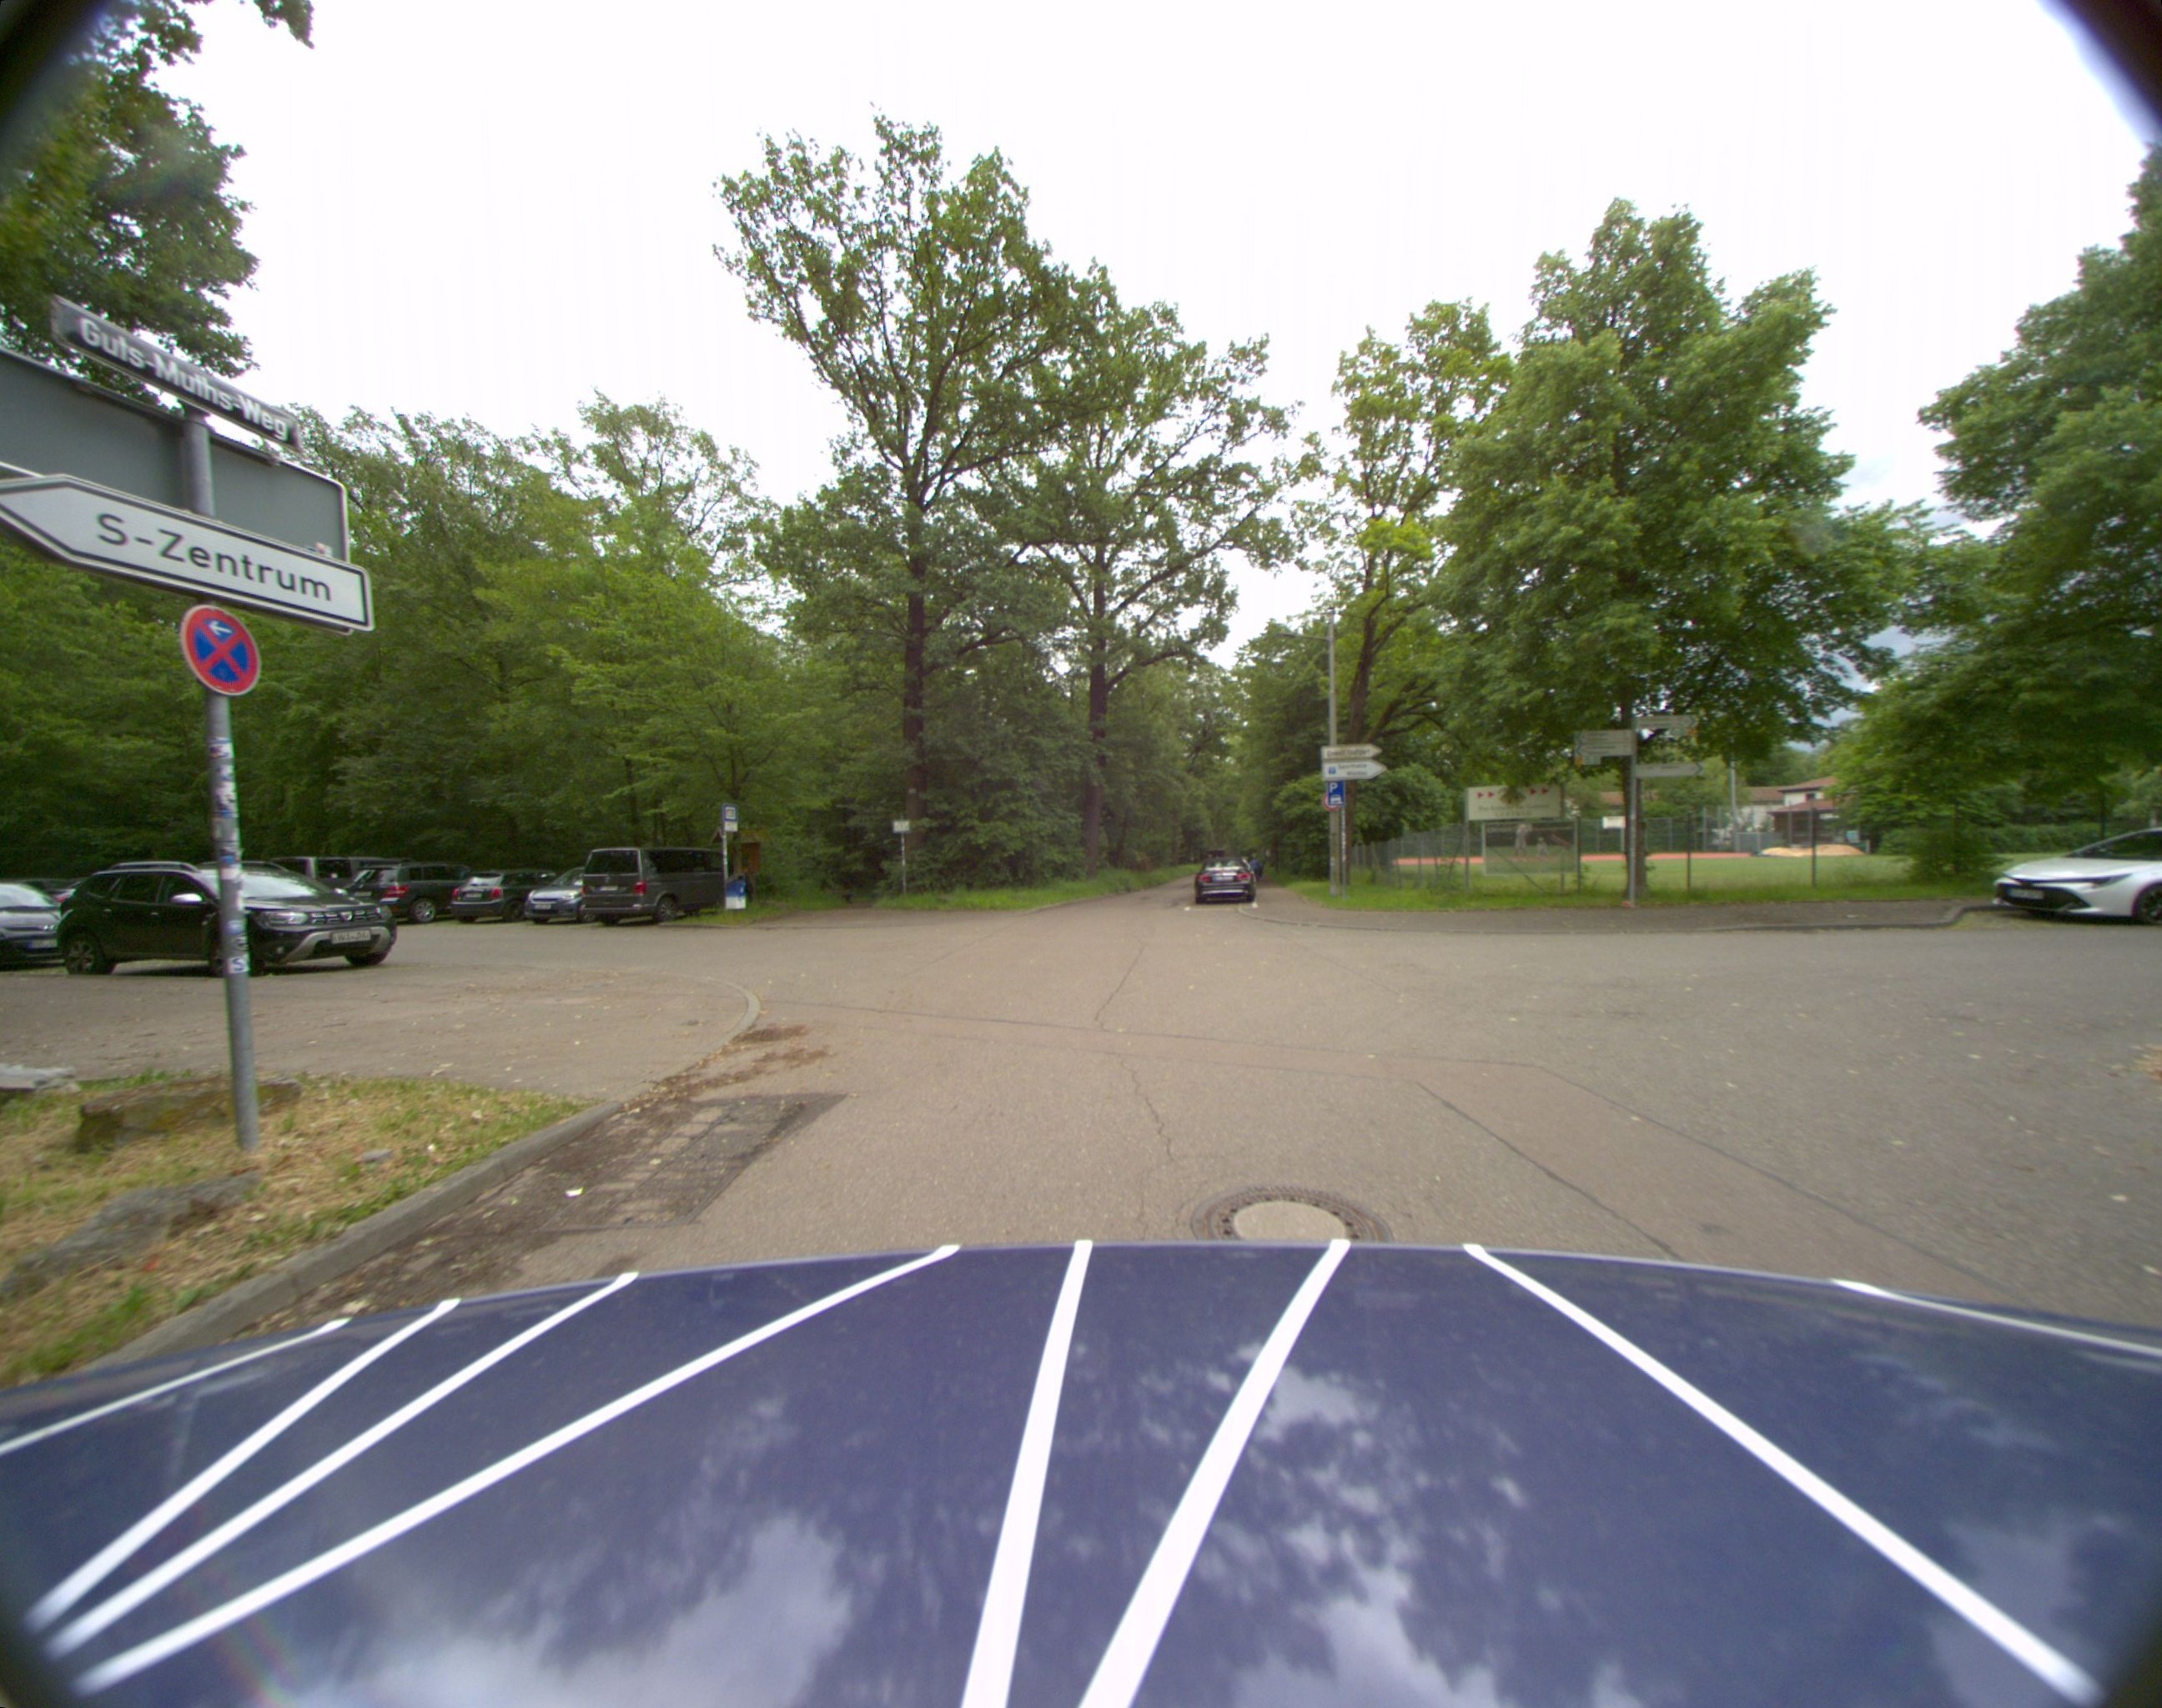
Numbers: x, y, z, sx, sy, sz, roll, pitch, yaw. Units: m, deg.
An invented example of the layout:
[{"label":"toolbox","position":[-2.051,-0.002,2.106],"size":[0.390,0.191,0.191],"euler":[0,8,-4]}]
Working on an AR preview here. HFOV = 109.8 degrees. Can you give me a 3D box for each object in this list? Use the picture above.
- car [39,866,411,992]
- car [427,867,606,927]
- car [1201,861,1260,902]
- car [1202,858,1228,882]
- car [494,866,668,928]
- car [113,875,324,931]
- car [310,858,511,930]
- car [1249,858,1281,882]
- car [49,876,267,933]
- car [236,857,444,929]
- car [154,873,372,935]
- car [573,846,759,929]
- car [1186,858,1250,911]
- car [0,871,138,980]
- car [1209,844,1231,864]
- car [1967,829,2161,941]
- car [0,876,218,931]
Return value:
[{"label":"car","position":[-12.626,1.041,11.331],"size":[3.992,1.624,1.817],"euler":[-1,1,10]},{"label":"car","position":[-16.032,1.166,21.873],"size":[1.718,1.422,4.002],"euler":[-1,1,10]},{"label":"car","position":[5.743,1.025,29.129],"size":[1.997,1.411,4.005],"euler":[-2,-2,12]},{"label":"car","position":[9.511,1.110,54.123],"size":[1.618,1.583,3.522],"euler":[-2,0,8]},{"label":"car","position":[-13.659,1.124,21.058],"size":[1.806,1.503,3.831],"euler":[-1,0,12]},{"label":"car","position":[-26.161,1.441,23.274],"size":[1.669,1.430,4.002],"euler":[-1,0,7]},{"label":"car","position":[-18.869,1.066,21.666],"size":[1.821,1.755,4.002],"euler":[-1,1,8]},{"label":"car","position":[13.179,1.104,54.653],"size":[1.956,1.609,3.641],"euler":[0,1,8]},{"label":"car","position":[-28.508,1.499,23.689],"size":[1.615,1.430,4.002],"euler":[-1,1,9]},{"label":"car","position":[-21.270,1.050,22.072],"size":[1.811,1.851,4.003],"euler":[-1,0,9]},{"label":"car","position":[-23.665,1.397,22.242],"size":[1.777,1.467,4.002],"euler":[-1,1,7]},{"label":"car","position":[-10.955,0.826,20.516],"size":[1.888,1.966,4.521],"euler":[-1,0,12]},{"label":"car","position":[4.403,0.930,24.138],"size":[1.769,1.485,4.331],"euler":[-2,-2,12]},{"label":"car","position":[-18.430,1.137,12.560],"size":[3.992,1.624,1.817],"euler":[-1,1,10]},{"label":"car","position":[17.982,-0.008,98.411],"size":[2.578,2.520,4.939],"euler":[-2,0,10]},{"label":"car","position":[17.096,0.415,11.791],"size":[4.210,1.587,1.771],"euler":[-1,2,8]},{"label":"car","position":[-30.776,1.509,24.180],"size":[1.731,1.430,4.002],"euler":[-1,1,9]}]
